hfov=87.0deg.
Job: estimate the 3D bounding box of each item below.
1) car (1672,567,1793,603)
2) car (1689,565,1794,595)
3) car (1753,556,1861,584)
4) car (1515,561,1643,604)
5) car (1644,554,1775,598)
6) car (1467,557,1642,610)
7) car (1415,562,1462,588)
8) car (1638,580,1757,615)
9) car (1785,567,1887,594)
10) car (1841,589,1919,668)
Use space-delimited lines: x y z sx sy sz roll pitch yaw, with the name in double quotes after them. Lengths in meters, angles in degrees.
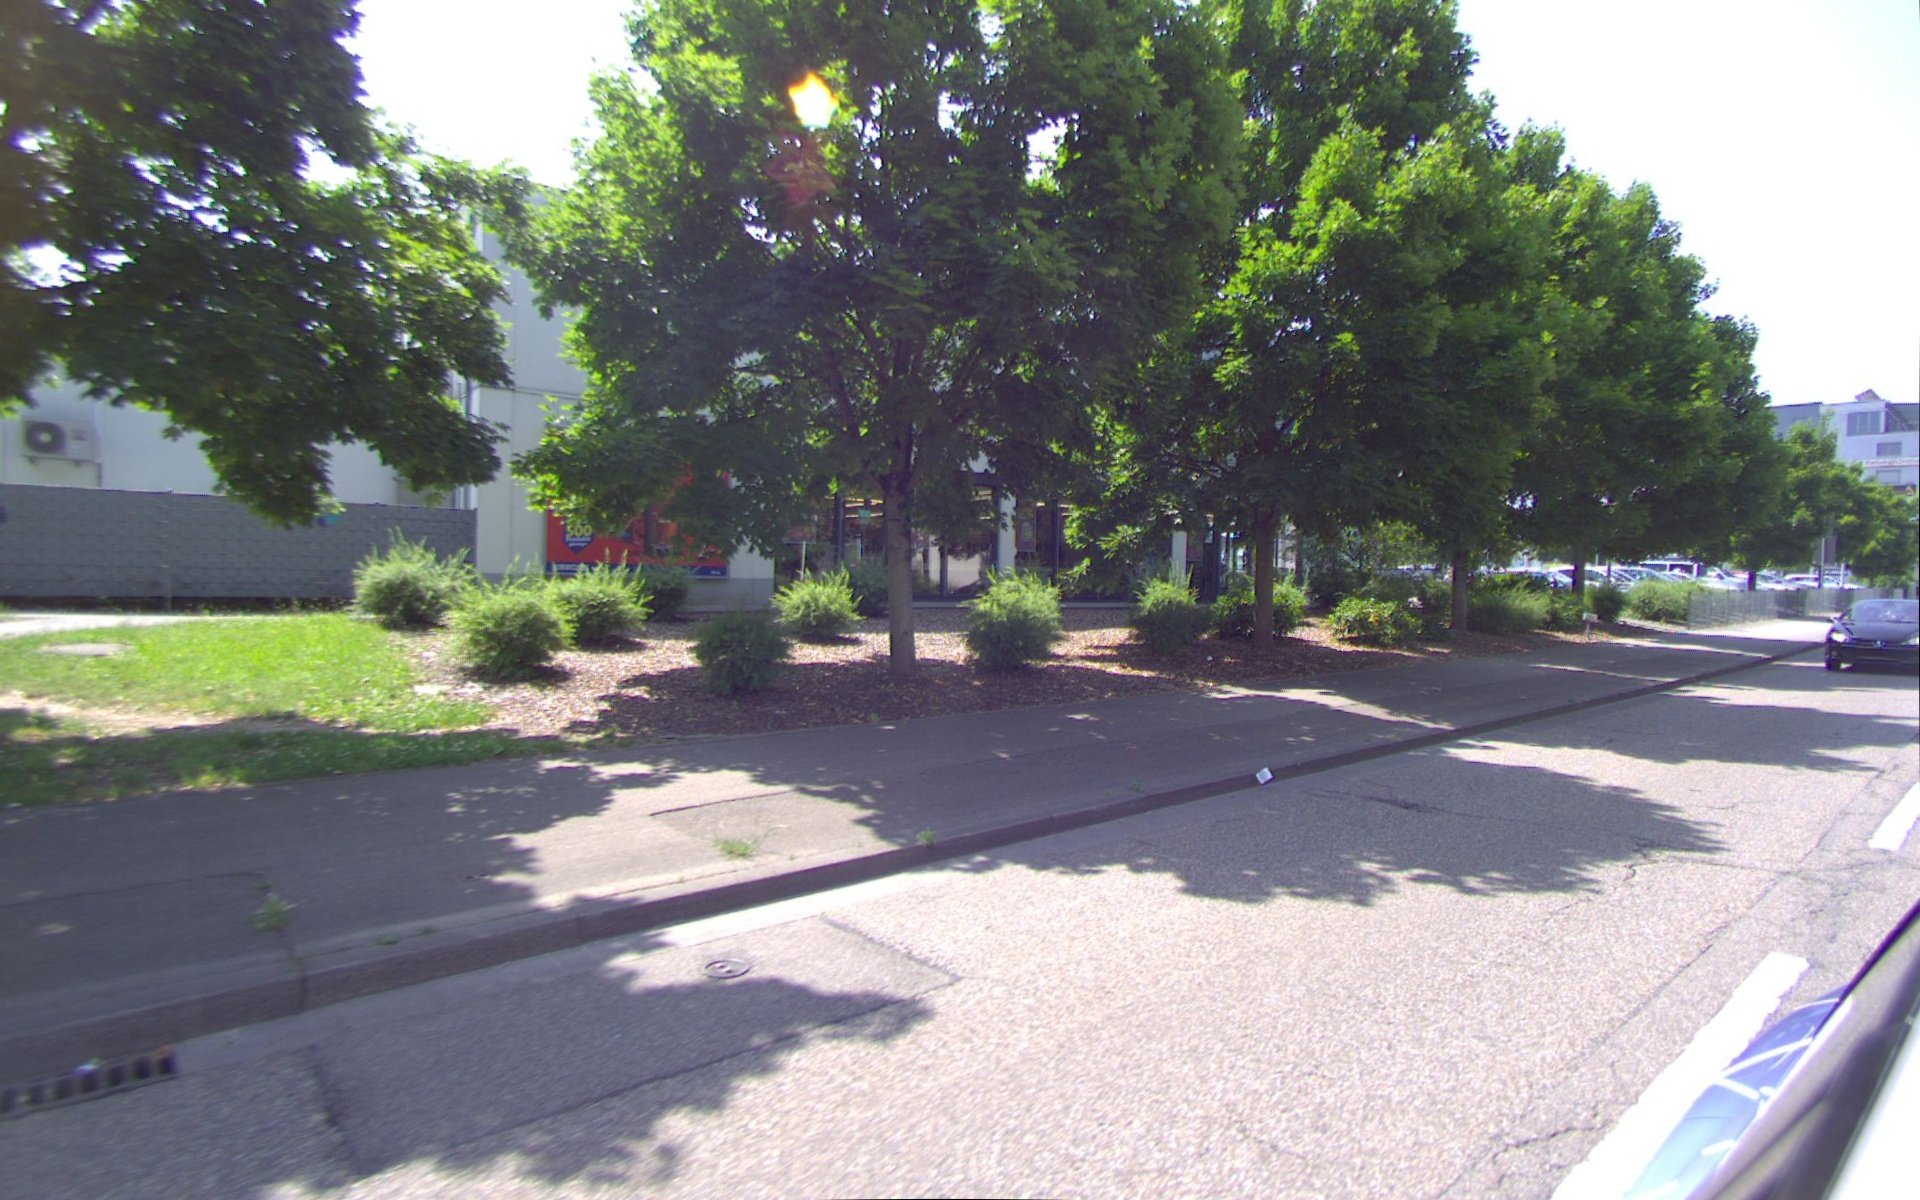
37.417 -0.769 49.115 1.794 1.612 4.378 0 2 -39 "car"
40.431 -1.035 52.421 1.667 1.439 4.006 0 2 -39 "car"
45.790 -1.641 54.800 1.666 1.439 4.183 0 2 -37 "car"
24.348 -0.671 39.901 1.796 1.616 3.991 -1 1 -43 "car"
35.239 -1.147 47.675 1.794 1.948 4.628 0 2 -39 "car"
21.163 -0.636 36.214 1.988 1.615 5.000 -1 4 -42 "car"
27.942 -1.472 59.018 3.196 1.437 1.267 -1 4 -41 "car"
33.235 -0.134 45.683 1.794 1.407 3.997 0 2 -39 "car"
54.201 -1.239 62.679 1.668 1.523 4.586 0 2 -40 "car"
18.316 0.501 19.553 3.441 1.373 1.639 -1 1 -43 "car"
